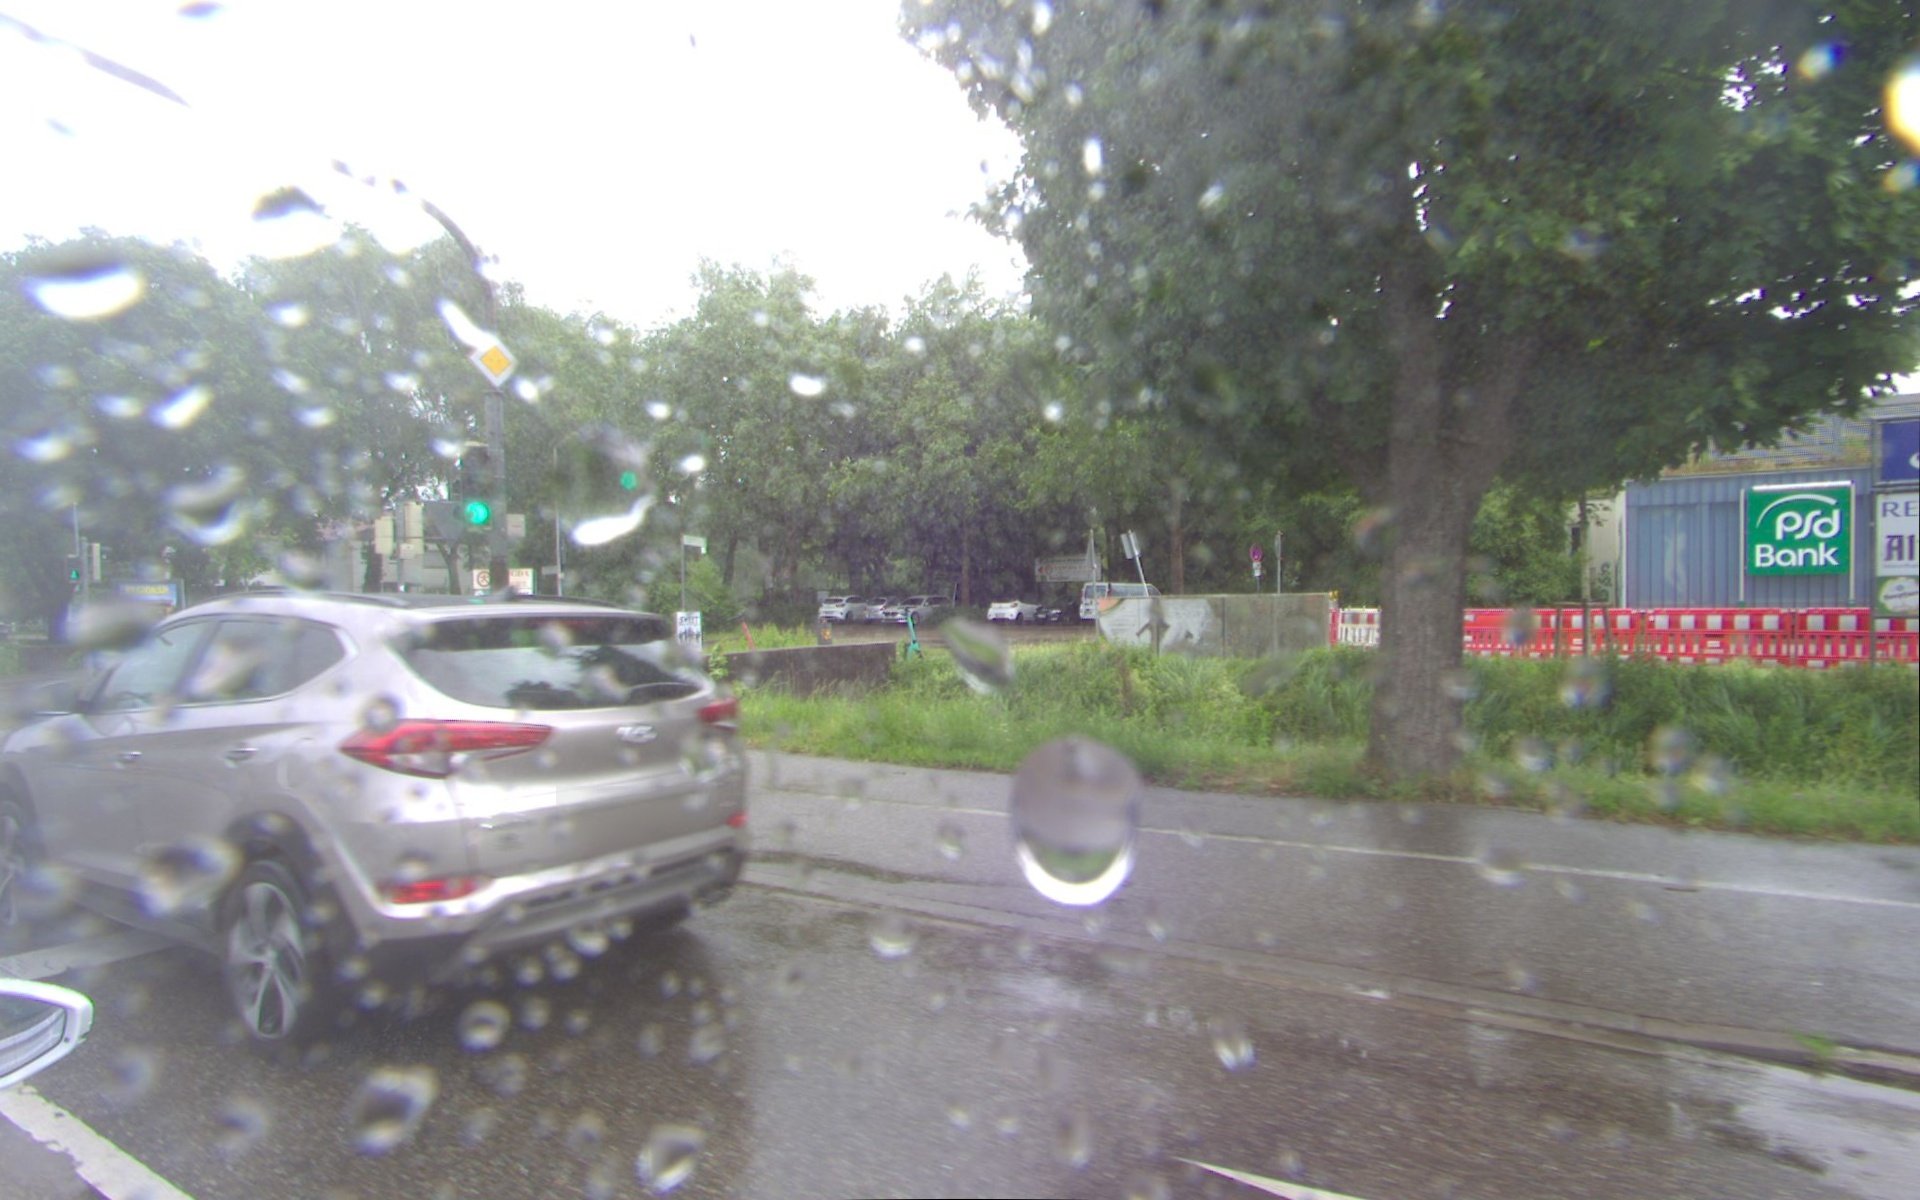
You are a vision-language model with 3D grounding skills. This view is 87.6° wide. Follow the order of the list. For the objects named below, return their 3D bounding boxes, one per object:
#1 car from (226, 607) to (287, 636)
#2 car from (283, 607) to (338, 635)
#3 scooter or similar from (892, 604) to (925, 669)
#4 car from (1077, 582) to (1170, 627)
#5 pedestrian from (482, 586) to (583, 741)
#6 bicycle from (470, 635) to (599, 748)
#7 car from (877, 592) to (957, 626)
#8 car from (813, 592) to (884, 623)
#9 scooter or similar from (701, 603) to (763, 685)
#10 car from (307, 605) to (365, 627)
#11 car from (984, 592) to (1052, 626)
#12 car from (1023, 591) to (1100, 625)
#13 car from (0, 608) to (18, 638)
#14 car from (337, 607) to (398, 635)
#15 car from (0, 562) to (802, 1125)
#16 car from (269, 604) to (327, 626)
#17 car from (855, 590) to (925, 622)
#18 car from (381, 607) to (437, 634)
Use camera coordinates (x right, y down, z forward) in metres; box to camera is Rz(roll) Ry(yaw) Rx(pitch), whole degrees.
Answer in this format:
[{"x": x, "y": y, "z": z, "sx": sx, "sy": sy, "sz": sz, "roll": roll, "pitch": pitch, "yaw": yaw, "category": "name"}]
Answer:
[{"x": -37.040, "y": 1.131, "z": 52.811, "sx": 1.641, "sy": 1.467, "sz": 3.745, "roll": 0, "pitch": -2, "yaw": -19, "category": "car"}, {"x": -34.966, "y": 1.152, "z": 53.979, "sx": 1.641, "sy": 1.467, "sz": 3.745, "roll": 0, "pitch": -2, "yaw": -19, "category": "car"}, {"x": -0.966, "y": 0.675, "z": 18.794, "sx": 0.553, "sy": 1.192, "sz": 0.284, "roll": 0, "pitch": 1, "yaw": 39, "category": "scooter or similar"}, {"x": 7.607, "y": 0.252, "z": 46.439, "sx": 4.145, "sy": 1.990, "sz": 1.912, "roll": 1, "pitch": -2, "yaw": -37, "category": "car"}, {"x": -4.974, "y": 0.721, "z": 11.702, "sx": 0.774, "sy": 1.702, "sz": 0.668, "roll": -3, "pitch": 4, "yaw": -1, "category": "pedestrian"}, {"x": -4.960, "y": 1.033, "z": 11.804, "sx": 0.774, "sy": 1.053, "sz": 1.663, "roll": -3, "pitch": 3, "yaw": -1, "category": "bicycle"}, {"x": -2.181, "y": 0.489, "z": 52.093, "sx": 1.898, "sy": 1.651, "sz": 4.579, "roll": -1, "pitch": -2, "yaw": 31, "category": "car"}, {"x": -6.120, "y": 0.439, "z": 55.666, "sx": 1.894, "sy": 1.604, "sz": 4.589, "roll": -1, "pitch": -2, "yaw": 23, "category": "car"}, {"x": -3.568, "y": 0.671, "z": 15.683, "sx": 0.317, "sy": 1.246, "sz": 0.954, "roll": 0, "pitch": 1, "yaw": 36, "category": "scooter or similar"}, {"x": -41.603, "y": 1.074, "z": 66.727, "sx": 3.940, "sy": 1.403, "sz": 1.582, "roll": -1, "pitch": -2, "yaw": 30, "category": "car"}, {"x": 2.896, "y": 0.474, "z": 49.376, "sx": 1.697, "sy": 1.617, "sz": 3.648, "roll": -1, "pitch": -2, "yaw": 34, "category": "car"}, {"x": 4.869, "y": 0.401, "z": 47.616, "sx": 1.900, "sy": 1.508, "sz": 4.171, "roll": -1, "pitch": -2, "yaw": 34, "category": "car"}, {"x": -57.818, "y": 1.396, "z": 58.995, "sx": 4.806, "sy": 1.740, "sz": 1.990, "roll": -1, "pitch": 1, "yaw": 30, "category": "car"}, {"x": -32.099, "y": 1.140, "z": 54.327, "sx": 1.638, "sy": 1.467, "sz": 3.751, "roll": 0, "pitch": -2, "yaw": -10, "category": "car"}, {"x": -2.953, "y": 0.762, "z": 4.825, "sx": 4.137, "sy": 1.631, "sz": 1.880, "roll": -2, "pitch": -1, "yaw": 33, "category": "car"}, {"x": -42.647, "y": 0.975, "z": 64.497, "sx": 3.646, "sy": 1.333, "sz": 1.571, "roll": -1, "pitch": -1, "yaw": 29, "category": "car"}, {"x": -3.727, "y": 0.368, "z": 54.346, "sx": 1.894, "sy": 1.604, "sz": 4.589, "roll": -1, "pitch": -2, "yaw": 23, "category": "car"}, {"x": -30.192, "y": 1.145, "z": 54.960, "sx": 1.573, "sy": 1.467, "sz": 3.751, "roll": 0, "pitch": -2, "yaw": -10, "category": "car"}]
